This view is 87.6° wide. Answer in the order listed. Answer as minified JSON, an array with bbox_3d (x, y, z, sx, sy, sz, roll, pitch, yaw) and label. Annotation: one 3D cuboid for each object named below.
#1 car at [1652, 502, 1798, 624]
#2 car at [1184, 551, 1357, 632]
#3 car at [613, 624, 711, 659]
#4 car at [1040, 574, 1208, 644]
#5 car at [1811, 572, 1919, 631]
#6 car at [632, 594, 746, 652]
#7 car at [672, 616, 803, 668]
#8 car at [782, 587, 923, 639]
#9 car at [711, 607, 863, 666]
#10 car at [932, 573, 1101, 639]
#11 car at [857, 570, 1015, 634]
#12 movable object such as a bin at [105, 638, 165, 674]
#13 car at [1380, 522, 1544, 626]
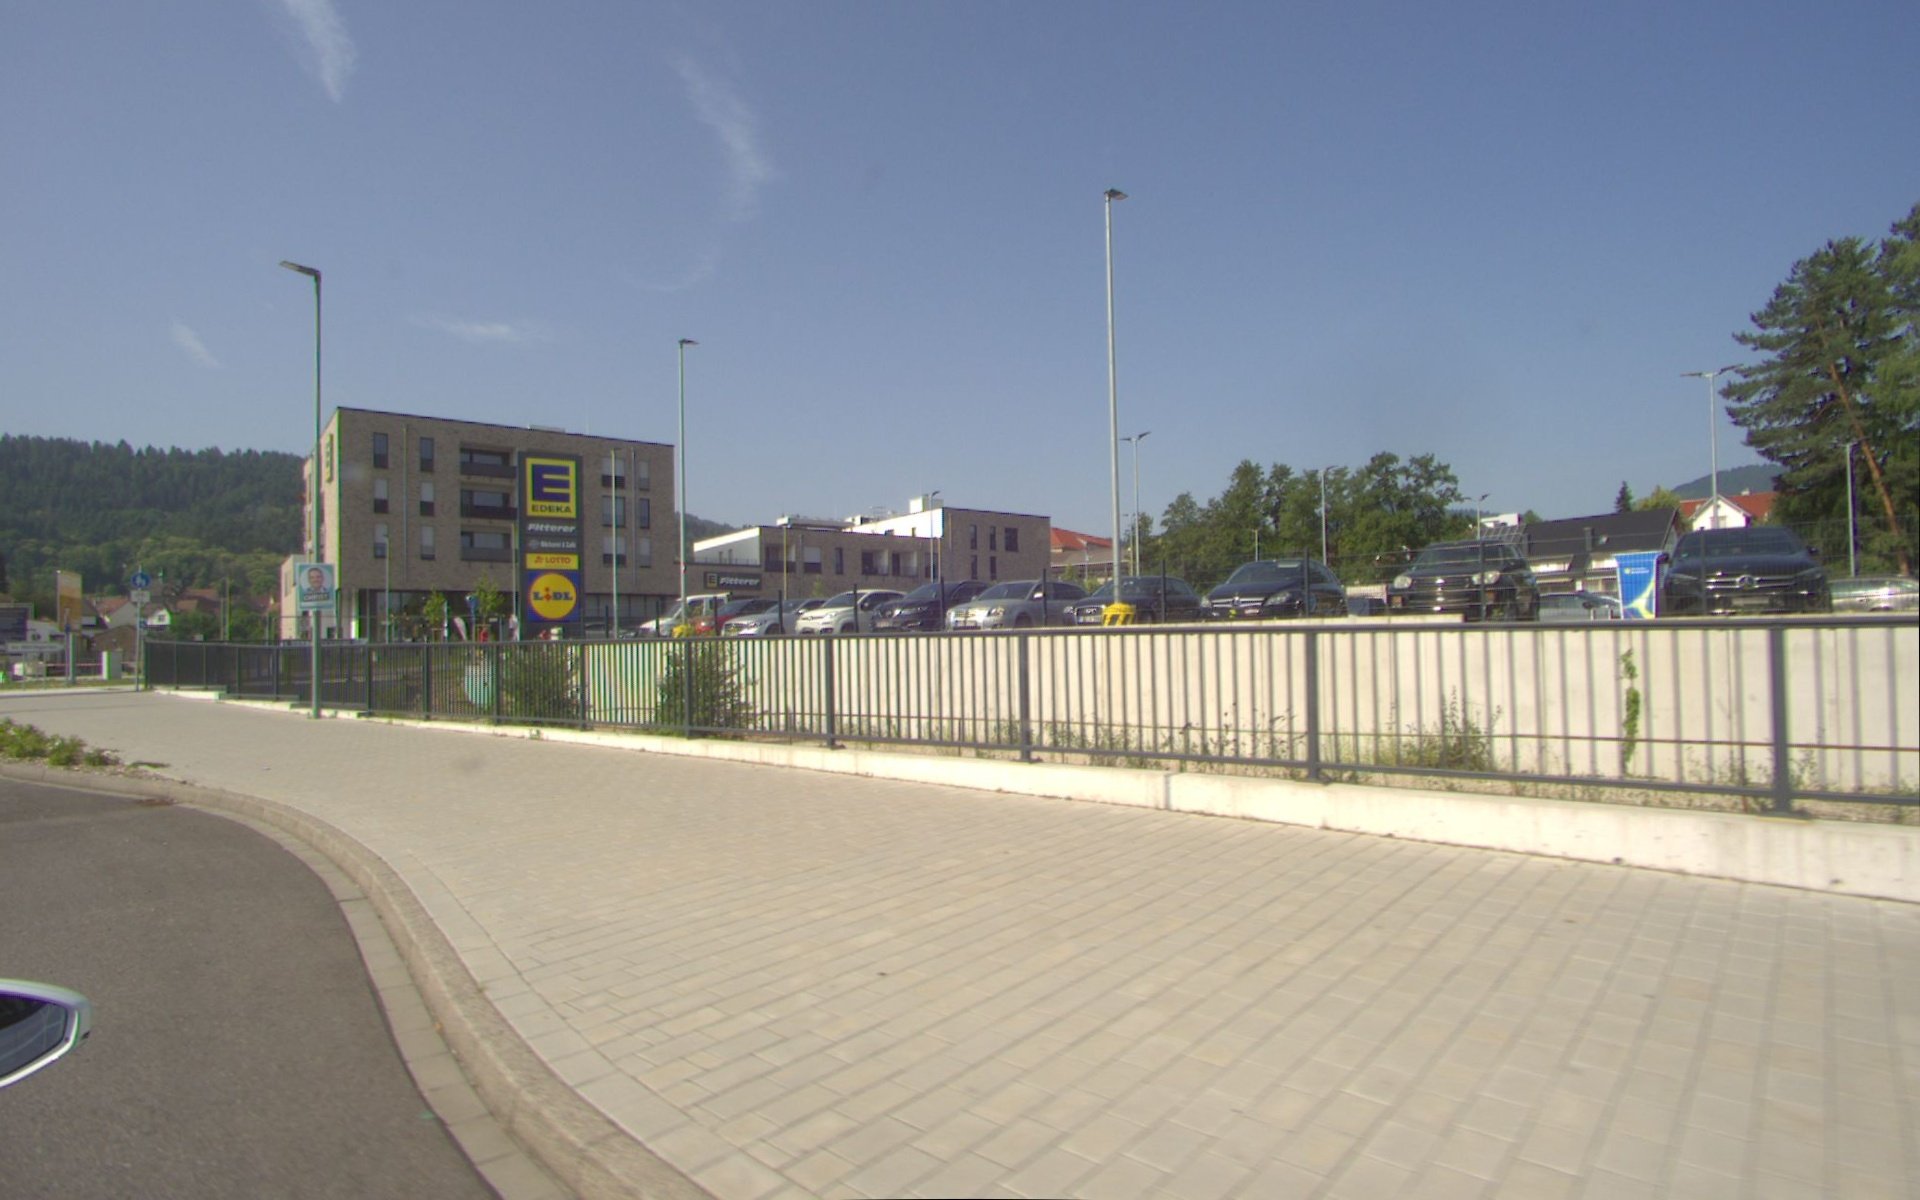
[{"bbox_3d":[11.090,-0.414,14.552,1.468,1.421,4.048,-2,-3,38],"label":"car"},{"bbox_3d":[5.887,-0.075,18.669,1.722,1.261,4.199,-2,-3,38],"label":"car"},{"bbox_3d":[-13.308,1.838,44.798,3.942,1.465,1.670,0,-3,-29],"label":"car"},{"bbox_3d":[3.425,0.259,20.413,1.709,1.261,3.953,-2,-3,38],"label":"car"},{"bbox_3d":[28.374,0.053,30.550,3.588,1.650,1.590,-4,-3,41],"label":"car"},{"bbox_3d":[-10.687,0.905,39.553,3.943,2.162,1.991,0,-3,-31],"label":"car"},{"bbox_3d":[-6.517,1.249,29.559,1.690,1.448,3.543,-2,-3,38],"label":"car"},{"bbox_3d":[-2.734,0.384,26.034,1.694,1.214,3.543,-2,-3,38],"label":"car"},{"bbox_3d":[-4.735,1.043,27.863,1.697,1.505,4.039,-2,-3,40],"label":"car"},{"bbox_3d":[1.350,0.204,22.180,1.644,1.261,4.264,-2,-3,38],"label":"car"},{"bbox_3d":[-0.502,0.120,24.180,1.640,1.359,4.022,-2,-3,38],"label":"car"},{"bbox_3d":[-44.607,3.038,54.150,2.427,1.867,1.416,1,-3,-43],"label":"movable object such as a bin"},{"bbox_3d":[8.473,-0.323,16.734,1.704,1.421,3.992,-2,-3,38],"label":"car"}]
